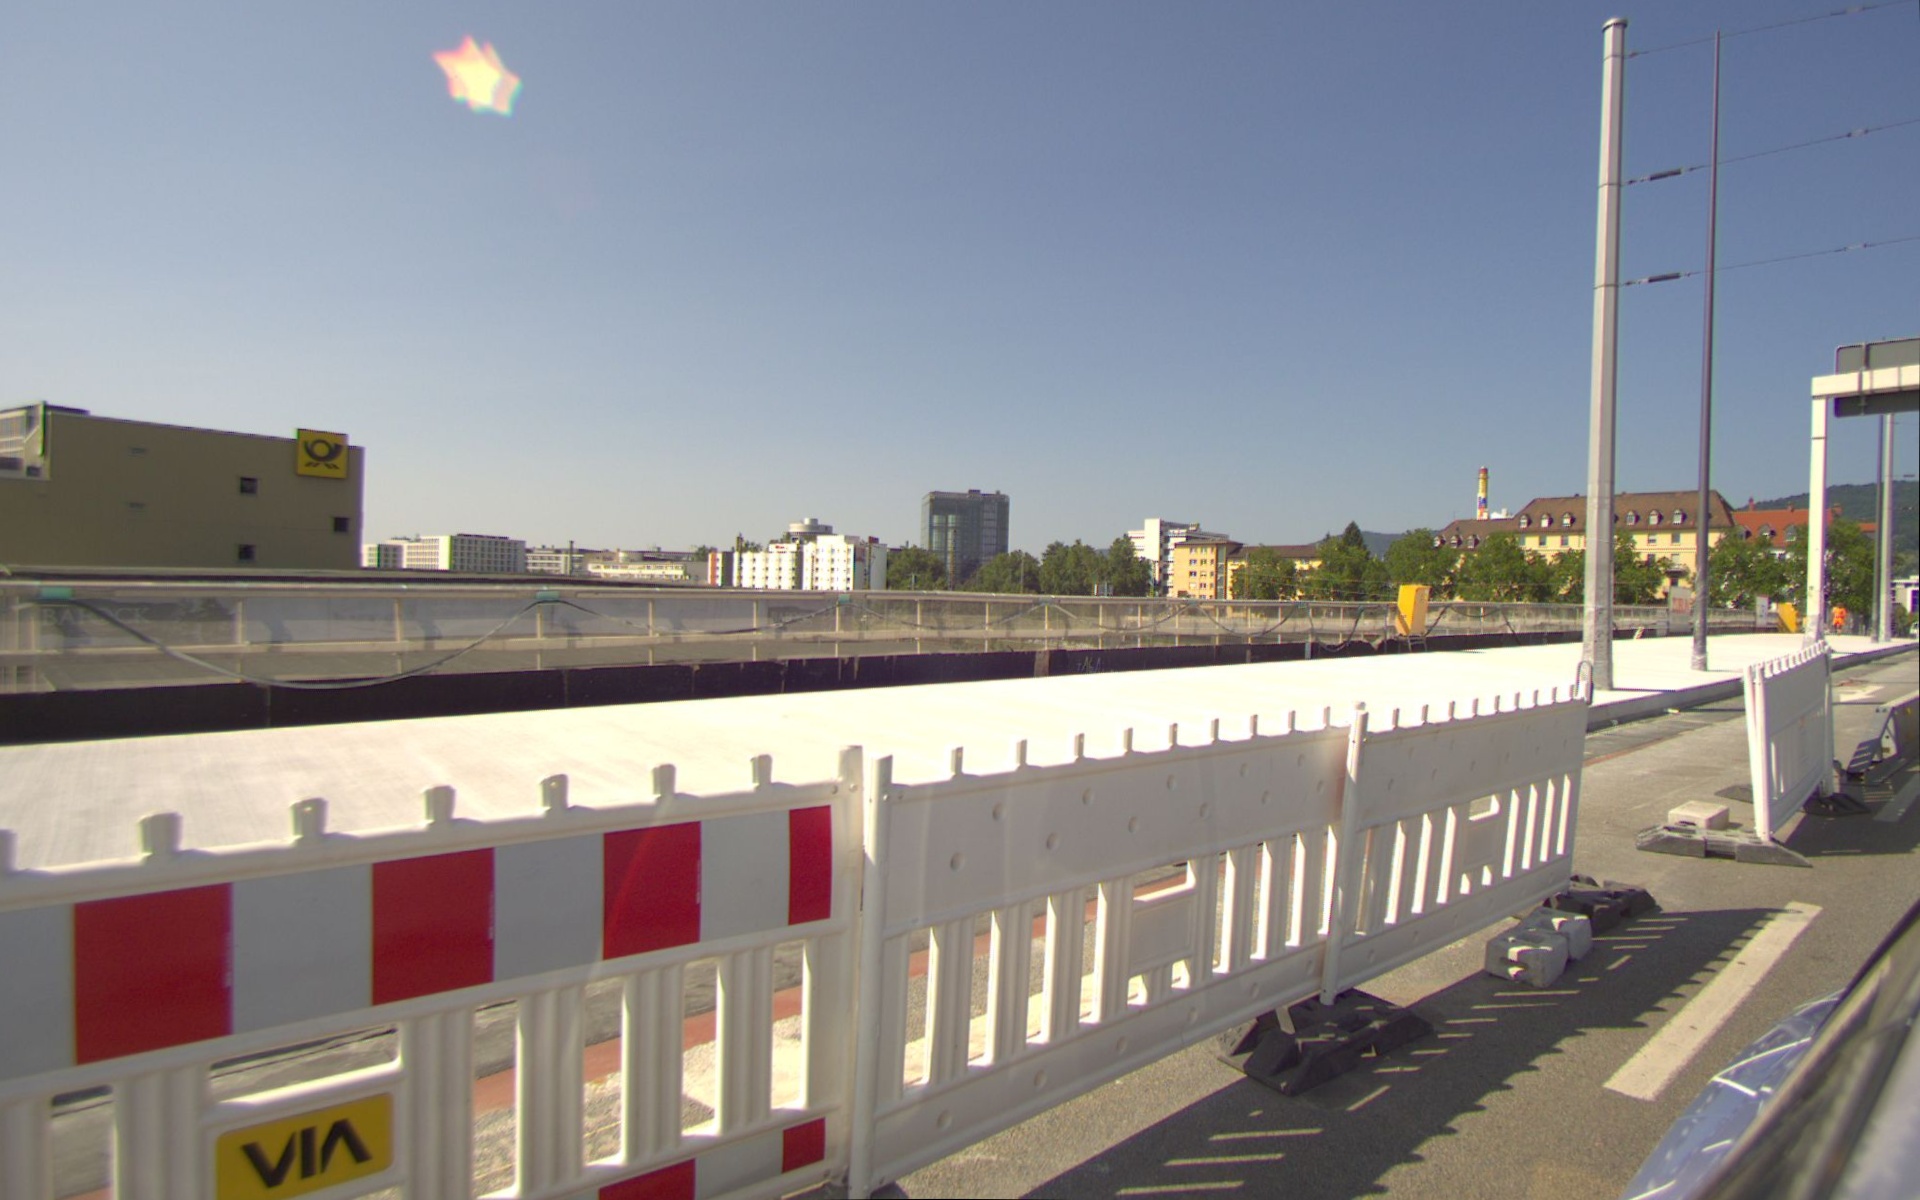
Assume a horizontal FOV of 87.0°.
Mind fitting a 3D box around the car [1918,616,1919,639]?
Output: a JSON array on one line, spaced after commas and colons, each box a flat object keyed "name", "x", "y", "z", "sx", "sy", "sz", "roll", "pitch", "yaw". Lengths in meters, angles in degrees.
[{"name": "car", "x": 91.012, "y": 2.650, "z": 94.424, "sx": 6.358, "sy": 2.117, "sz": 1.936, "roll": 3, "pitch": -1, "yaw": -42}]

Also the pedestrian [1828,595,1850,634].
[{"name": "pedestrian", "x": 46.026, "y": 0.776, "z": 52.977, "sx": 0.999, "sy": 1.989, "sz": 0.732, "roll": 2, "pitch": 1, "yaw": -44}]
